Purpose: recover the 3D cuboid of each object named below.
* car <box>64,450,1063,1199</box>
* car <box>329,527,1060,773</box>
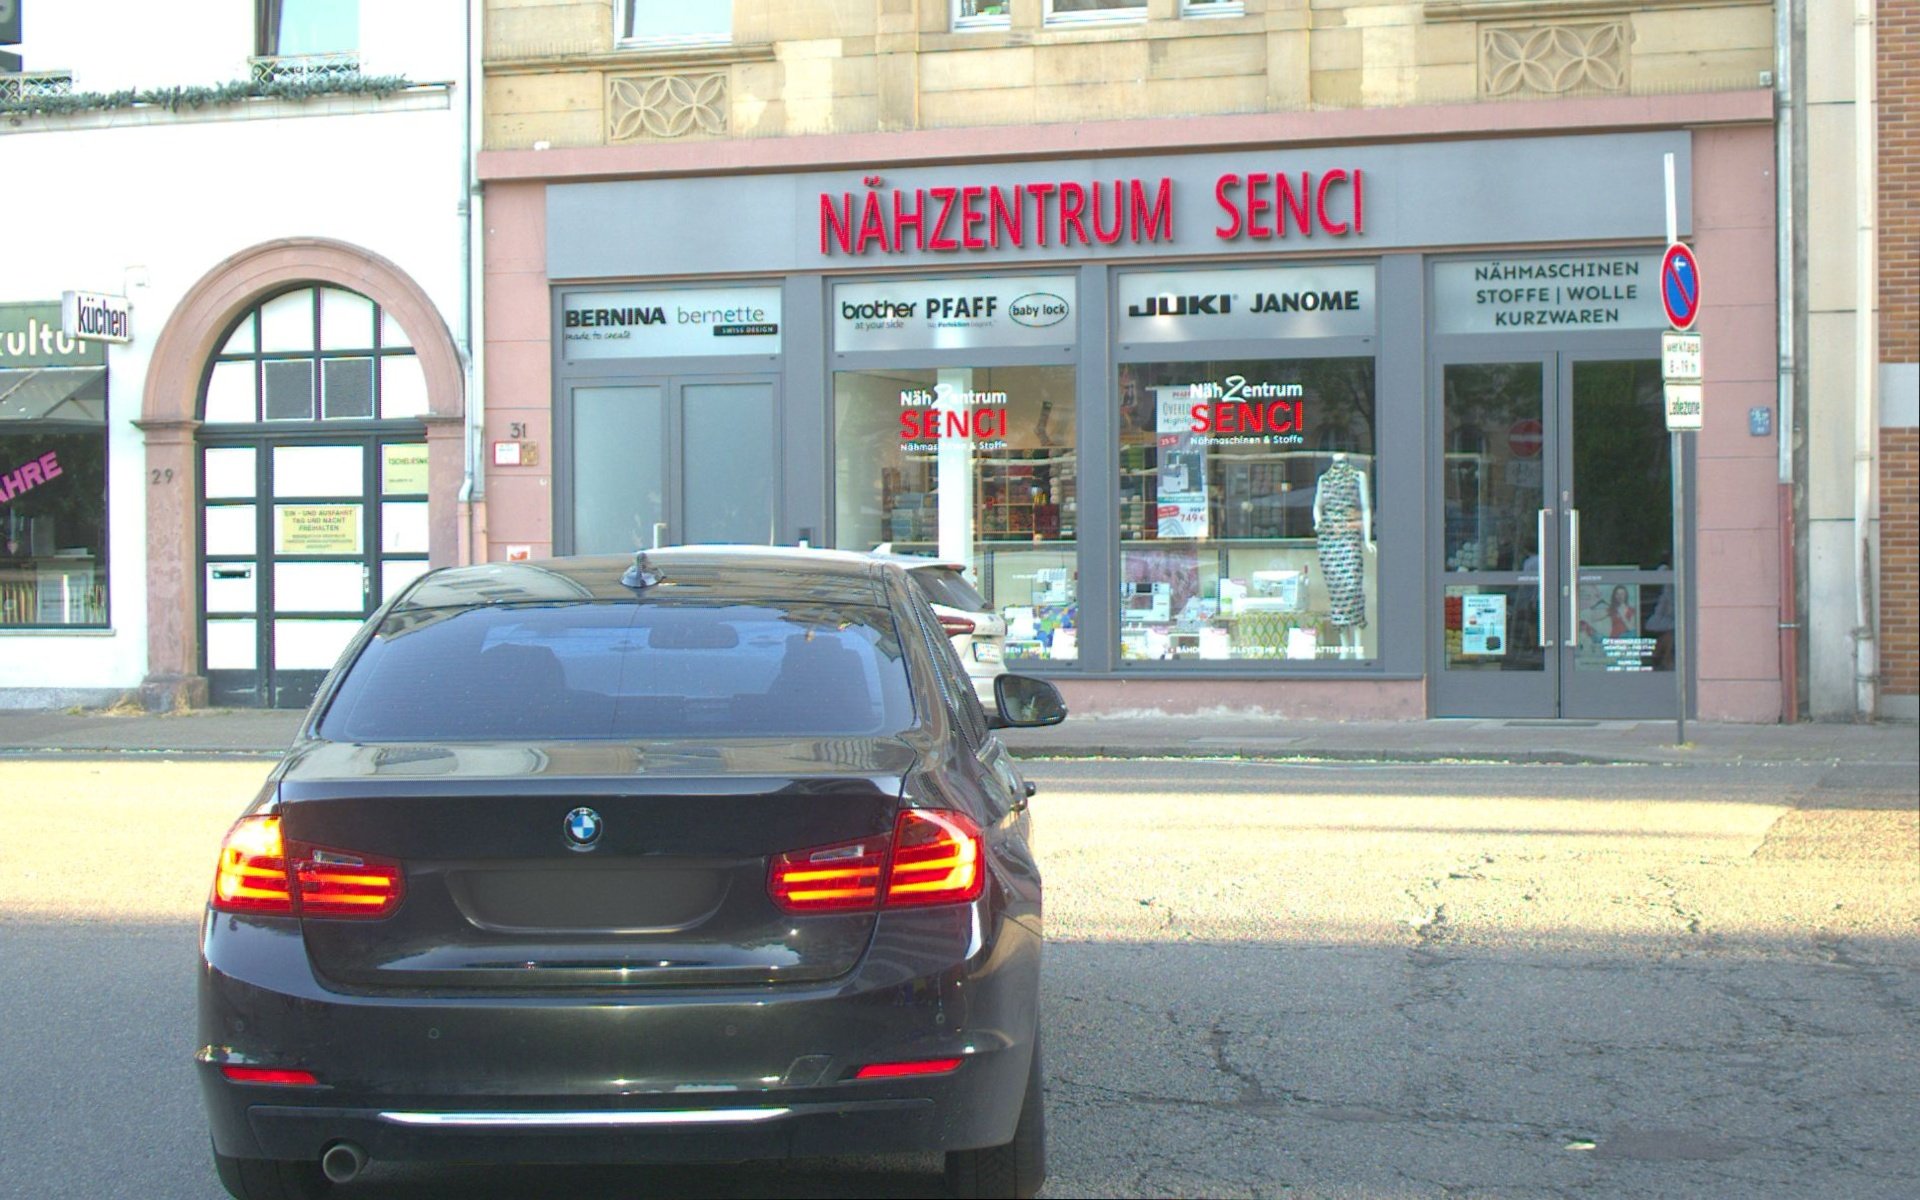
[{"bbox_3d":[-0.690,0.463,8.595,1.888,1.487,4.204,0,0,2],"label":"car"},{"bbox_3d":[-1.831,0.303,24.025,4.670,1.530,1.998,1,1,18],"label":"car"}]
